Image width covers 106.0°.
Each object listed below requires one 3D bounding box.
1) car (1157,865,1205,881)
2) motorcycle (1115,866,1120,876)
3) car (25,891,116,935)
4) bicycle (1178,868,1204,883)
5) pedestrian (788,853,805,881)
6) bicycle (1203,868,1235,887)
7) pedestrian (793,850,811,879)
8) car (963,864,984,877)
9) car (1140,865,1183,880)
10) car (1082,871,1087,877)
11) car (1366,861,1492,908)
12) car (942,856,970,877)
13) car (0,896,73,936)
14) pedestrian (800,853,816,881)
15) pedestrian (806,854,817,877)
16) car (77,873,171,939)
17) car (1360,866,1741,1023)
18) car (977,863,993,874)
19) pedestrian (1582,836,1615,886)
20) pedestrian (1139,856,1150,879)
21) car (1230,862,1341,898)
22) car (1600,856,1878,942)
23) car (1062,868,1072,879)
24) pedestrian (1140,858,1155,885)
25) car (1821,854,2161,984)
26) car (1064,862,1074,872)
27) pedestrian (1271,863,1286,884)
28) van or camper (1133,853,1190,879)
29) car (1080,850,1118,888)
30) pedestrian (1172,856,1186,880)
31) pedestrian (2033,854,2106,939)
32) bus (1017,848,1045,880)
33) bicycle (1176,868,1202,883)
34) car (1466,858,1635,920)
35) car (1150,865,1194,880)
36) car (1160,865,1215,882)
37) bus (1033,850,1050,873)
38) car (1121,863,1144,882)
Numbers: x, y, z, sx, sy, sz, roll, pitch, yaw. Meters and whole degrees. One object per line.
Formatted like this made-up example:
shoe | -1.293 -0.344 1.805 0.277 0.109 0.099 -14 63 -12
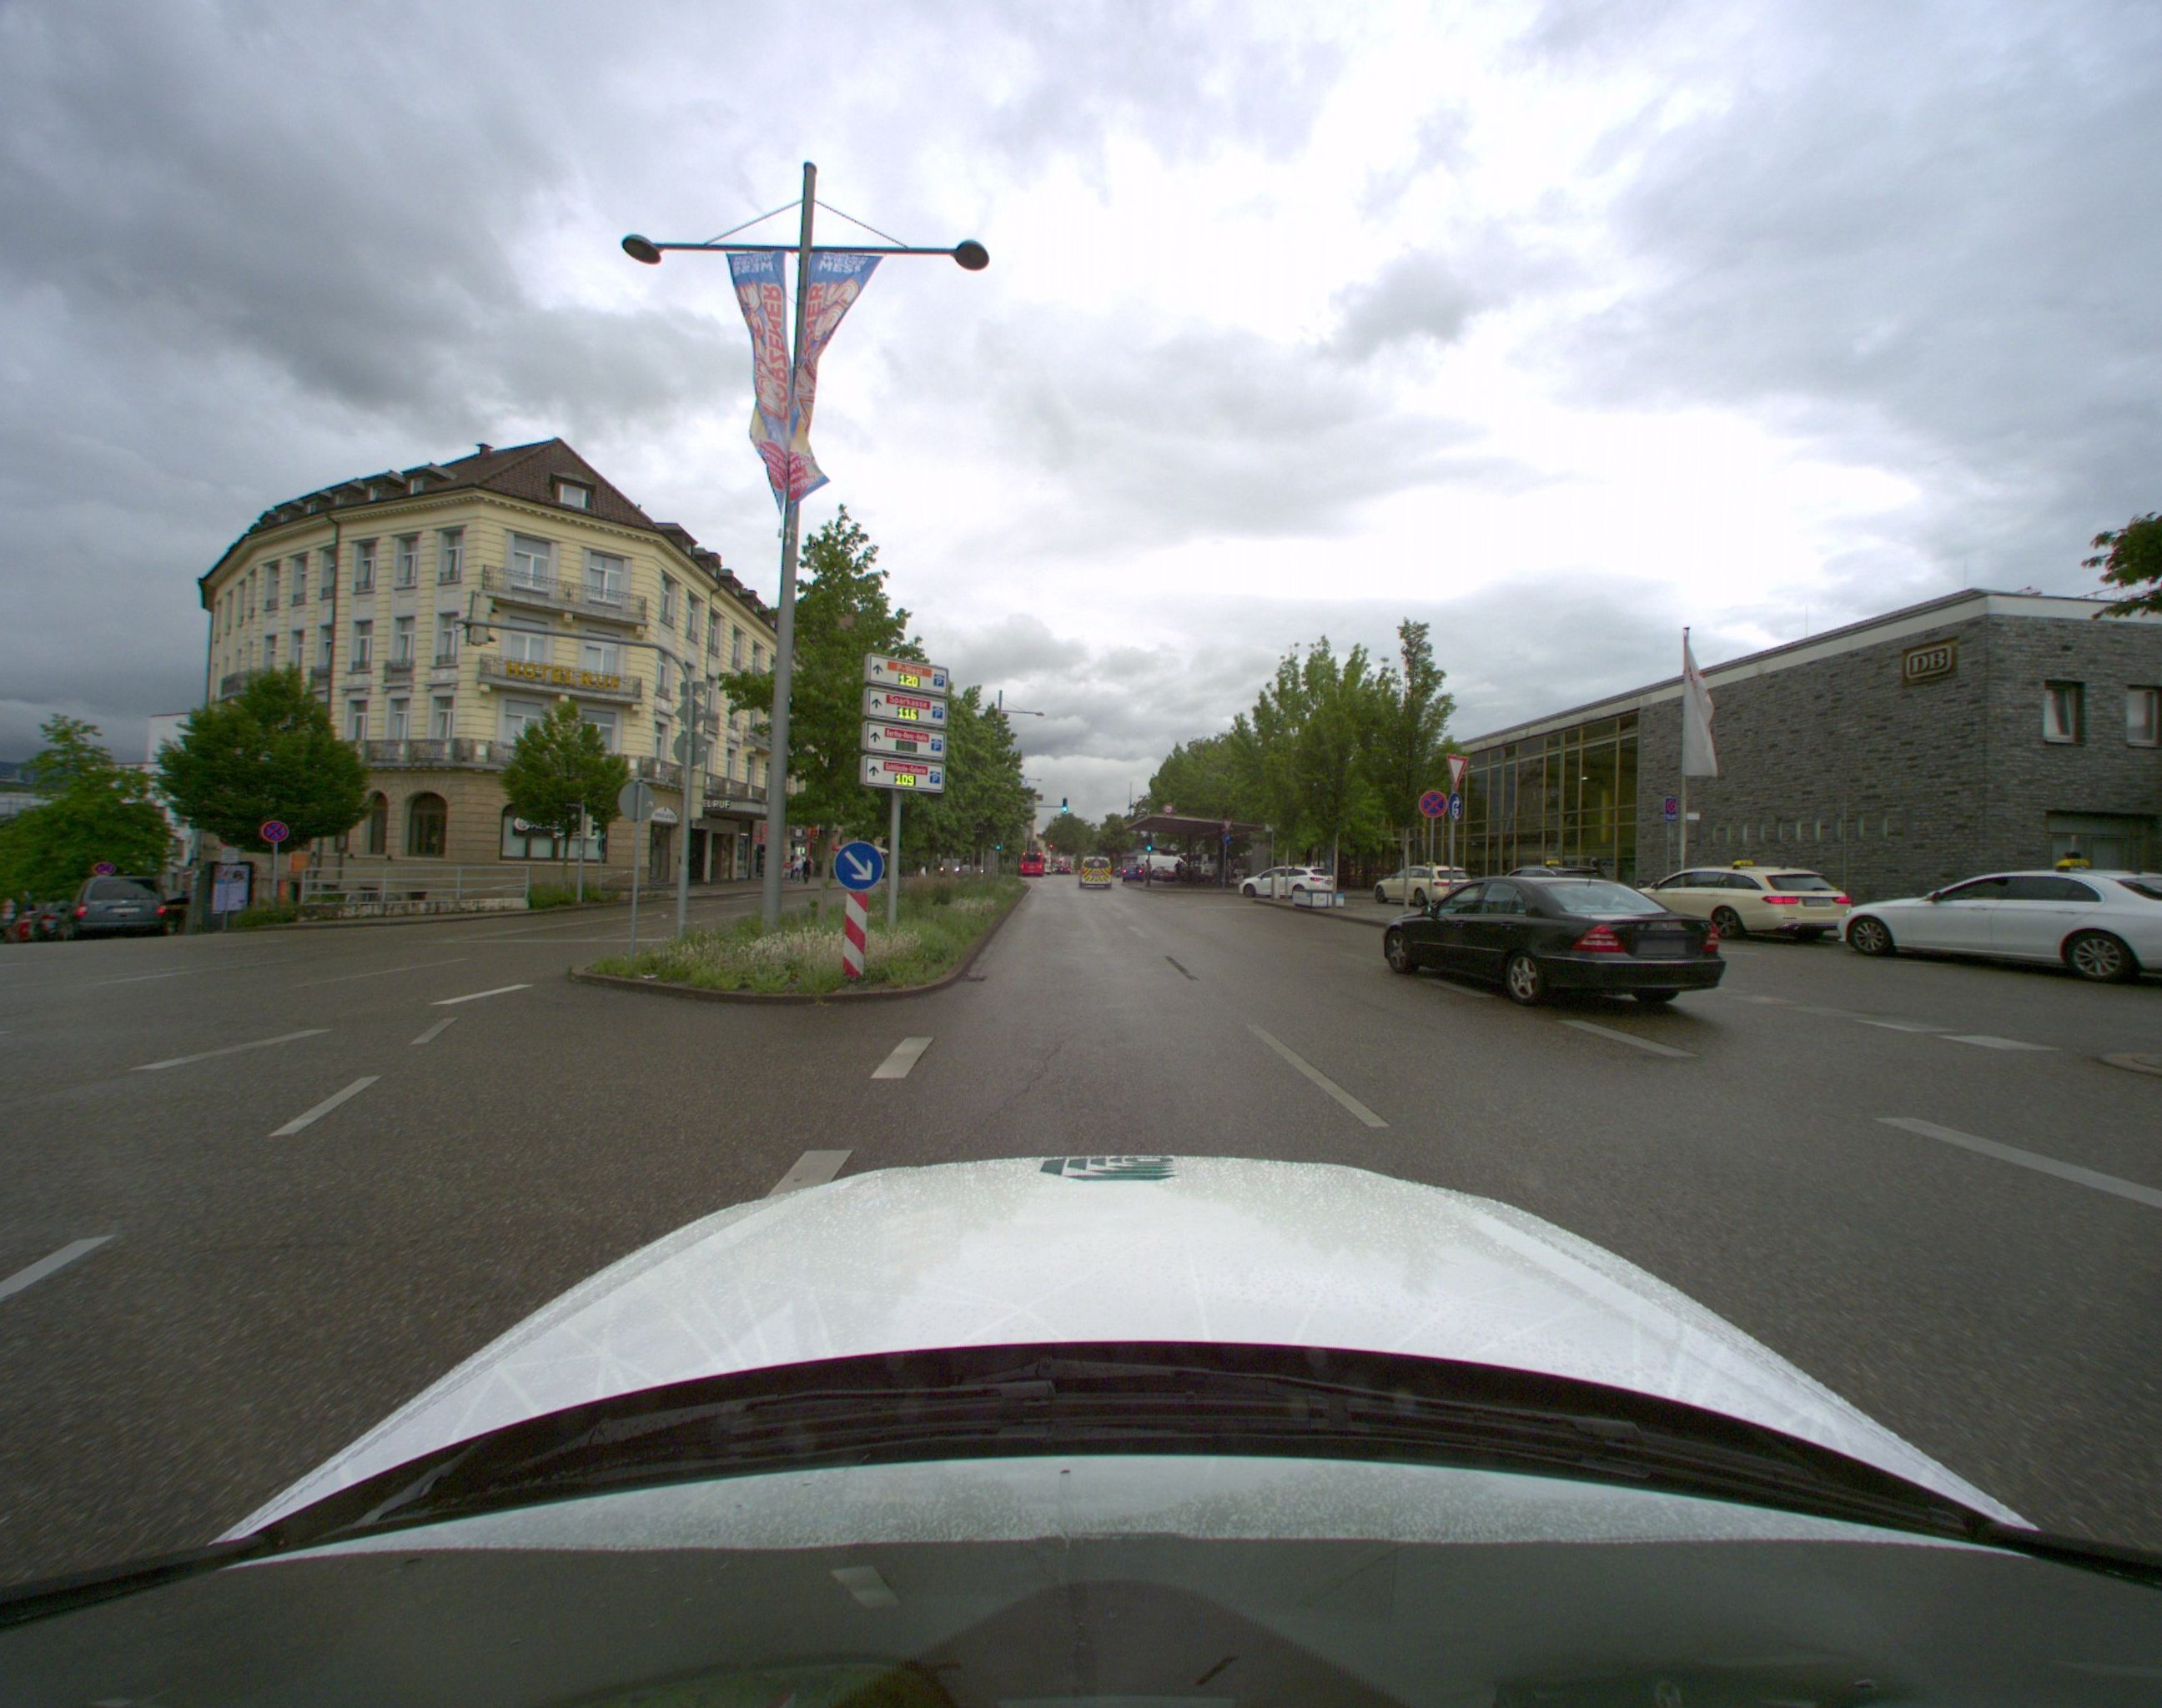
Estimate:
car | 8.810 1.697 71.696 4.014 1.359 1.846 1 -2 -32
motorcycle | 4.754 2.246 105.210 0.592 1.288 1.955 0 -1 4
car | -38.239 2.181 30.801 3.948 1.478 1.781 -1 -1 33
bicycle | 7.746 1.500 57.200 1.833 1.056 0.417 0 -1 -20
pedestrian | -16.979 0.765 48.647 0.679 1.664 0.807 -1 -1 1
bicycle | 8.261 1.402 48.721 1.823 1.056 0.420 -1 -1 -3
pedestrian | -17.703 0.655 51.664 0.877 1.813 0.750 -1 -1 -2
car | -13.007 2.012 98.750 1.988 1.543 4.630 -1 -1 -1
car | 8.191 1.896 82.414 4.010 1.443 1.847 1 -2 -28
car | 1.103 6.019 246.556 1.590 1.561 3.647 -1 -1 -1
car | 12.890 1.073 30.569 1.993 1.599 4.942 -1 -1 -9
car | -12.475 1.231 81.478 1.987 2.014 4.999 -1 -1 0
car | -43.575 2.547 33.811 3.958 1.478 1.781 -1 -1 33
pedestrian | -16.295 0.759 48.688 0.679 1.664 0.806 -1 -1 -2
pedestrian | -19.684 0.808 59.425 0.667 1.664 0.534 0 -1 -10
car | -28.592 1.463 24.309 3.948 1.759 1.645 0 -1 38
car | 5.307 0.901 10.048 1.693 1.466 4.439 -1 -1 -8
car | -13.087 1.939 111.069 1.742 1.430 3.950 -1 -1 -1
pedestrian | 17.399 0.238 27.385 0.787 1.626 0.727 -2 -2 44
pedestrian | 5.549 1.199 71.422 0.830 2.014 0.887 -1 -1 -6
car | 9.231 1.145 37.023 1.773 1.546 4.720 1 -2 -41
car | 13.983 0.869 17.817 1.988 1.599 4.955 -1 -1 -1
car | -2.721 3.733 158.258 1.988 2.014 3.997 -1 -1 -2
pedestrian | 4.297 1.140 52.613 0.746 1.747 0.833 0 -2 -10
car | 14.130 0.819 12.015 1.874 1.599 4.899 -1 -1 -1
car | -2.545 2.841 173.824 1.988 2.014 3.997 -1 -1 -2
pedestrian | 15.324 1.514 63.191 0.865 1.559 0.811 -1 -1 -9
van or camper | 8.802 1.273 88.505 5.982 2.763 2.178 0 -1 -29
car | 0.972 0.863 46.382 1.988 2.014 5.059 -1 -1 -1
pedestrian | 7.499 1.101 62.455 0.854 1.835 1.189 0 -2 -2
pedestrian | 19.963 0.844 16.453 0.647 1.667 0.771 0 -1 -24
bus | -6.625 1.359 108.000 3.537 3.980 11.155 -1 -1 -4
bicycle | 7.622 1.502 57.643 1.833 1.056 0.417 0 -1 -20
car | 13.638 0.956 24.093 1.989 1.599 4.953 1 -1 -3
car | 8.985 1.848 80.248 4.010 1.443 1.847 1 -2 -28
car | 8.890 1.633 68.033 4.201 1.325 1.827 1 -2 -22
bus | -6.769 1.382 139.092 2.799 3.747 10.431 -1 -1 -3
car | 4.452 1.640 70.972 1.851 1.569 4.001 0 -2 2
